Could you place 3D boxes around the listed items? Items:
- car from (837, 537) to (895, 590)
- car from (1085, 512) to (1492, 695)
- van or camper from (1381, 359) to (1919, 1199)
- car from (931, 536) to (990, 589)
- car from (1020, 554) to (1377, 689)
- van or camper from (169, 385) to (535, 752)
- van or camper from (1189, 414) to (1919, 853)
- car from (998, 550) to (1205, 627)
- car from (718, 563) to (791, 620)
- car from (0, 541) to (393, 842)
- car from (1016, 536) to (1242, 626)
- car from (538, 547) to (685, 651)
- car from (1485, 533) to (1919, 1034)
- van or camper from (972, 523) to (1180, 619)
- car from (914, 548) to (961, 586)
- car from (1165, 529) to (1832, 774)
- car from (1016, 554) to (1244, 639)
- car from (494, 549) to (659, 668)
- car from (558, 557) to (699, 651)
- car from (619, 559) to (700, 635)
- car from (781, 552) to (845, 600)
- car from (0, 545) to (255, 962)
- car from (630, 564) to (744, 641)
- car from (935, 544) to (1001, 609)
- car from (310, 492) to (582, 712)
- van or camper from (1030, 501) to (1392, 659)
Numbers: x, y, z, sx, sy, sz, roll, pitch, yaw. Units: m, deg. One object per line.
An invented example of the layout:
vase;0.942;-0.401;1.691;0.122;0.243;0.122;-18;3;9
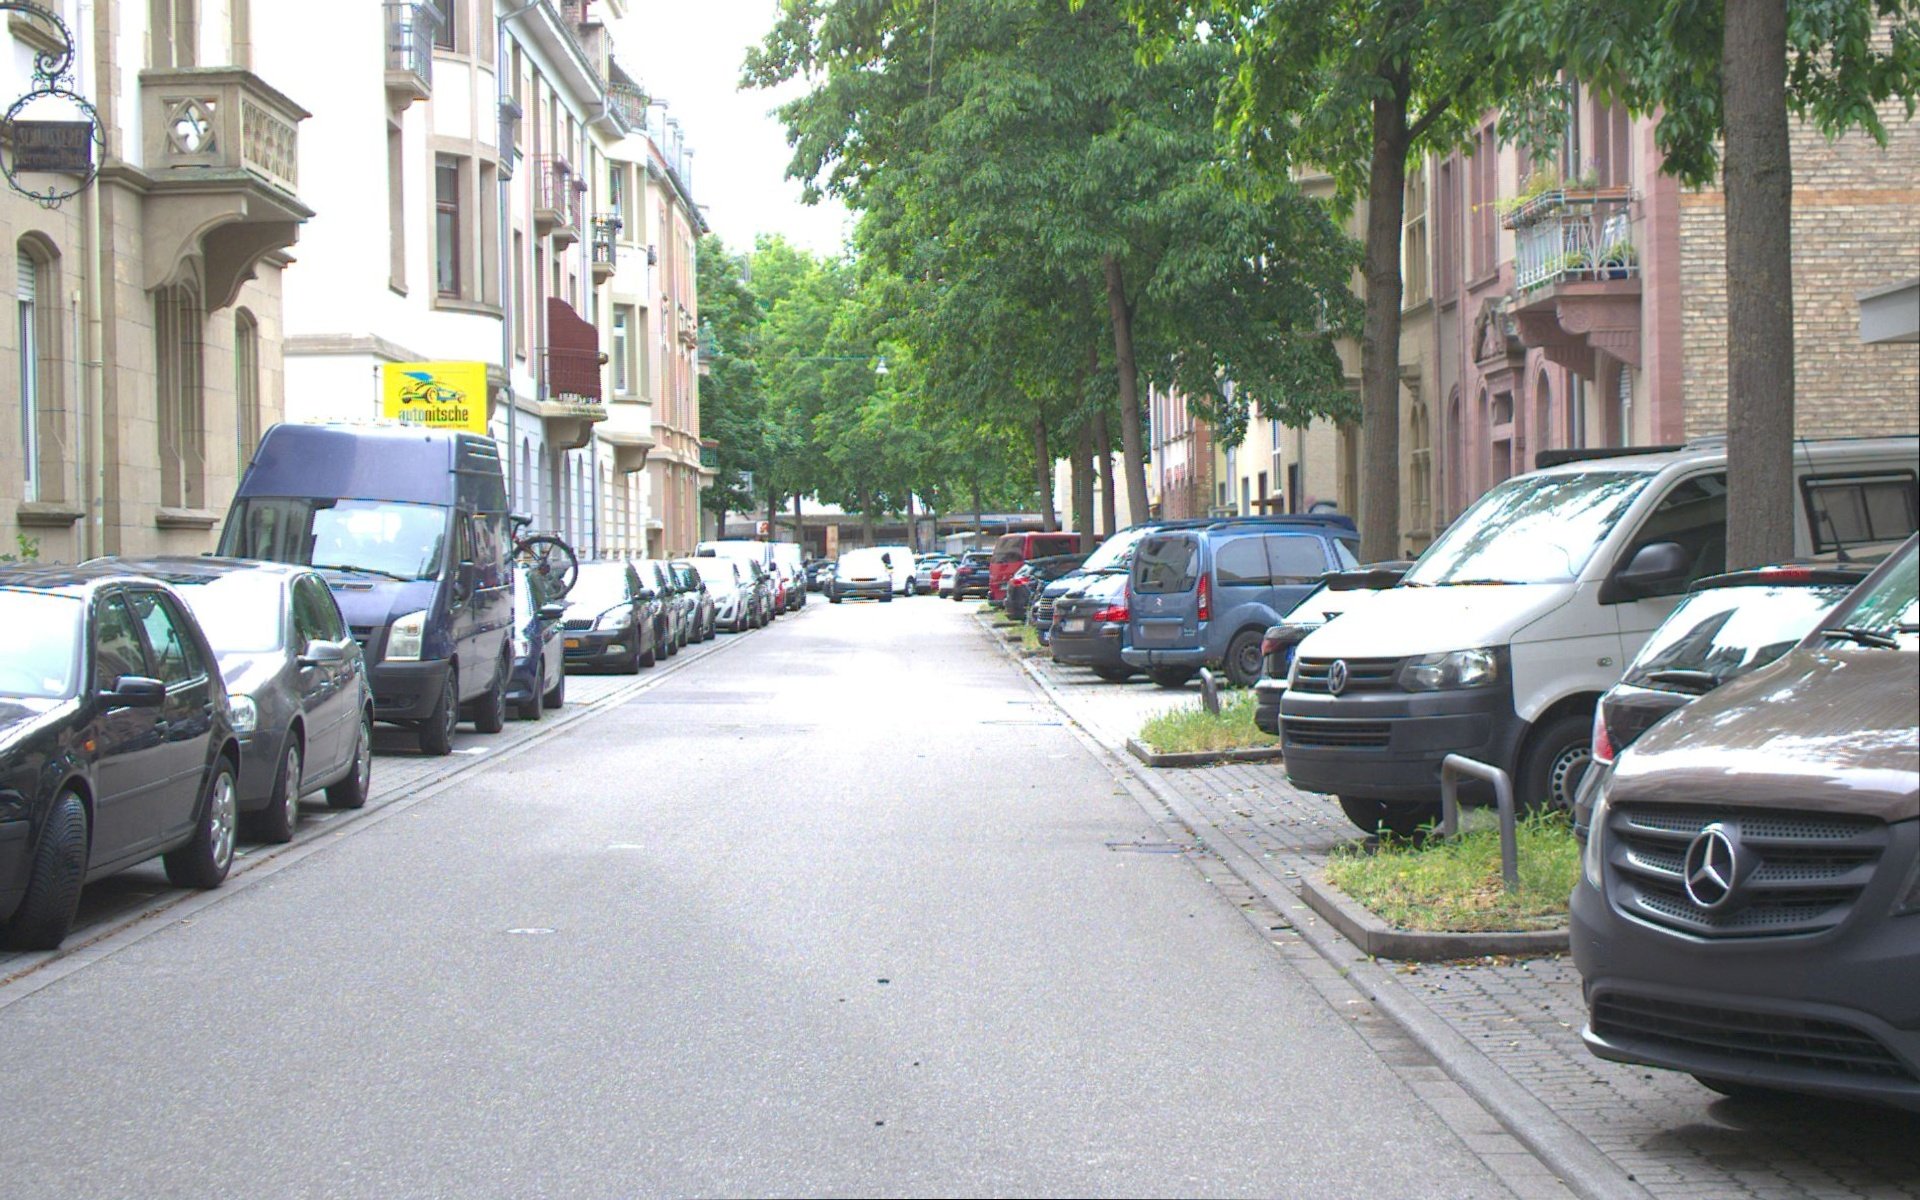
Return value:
car;-3.066;-1.170;112.260;1.821;1.639;3.754;1;0;-1
car;3.775;0.028;39.364;4.172;1.863;2.000;-3;0;-30
van or camper;3.843;0.327;9.228;5.005;1.863;2.127;-3;1;-28
car;0.007;-1.320;121.911;1.993;1.788;4.000;1;0;-1
car;2.943;0.234;42.191;4.010;1.554;1.884;-1;1;-31
van or camper;-4.819;-0.272;28.048;2.008;2.642;5.316;2;1;-1
van or camper;3.793;0.123;17.841;4.729;1.987;2.000;-2;-1;-26
car;2.689;-0.232;65.982;3.760;1.460;1.729;0;1;-6
car;-5.791;-0.261;97.302;1.786;1.450;3.888;-4;1;-1
car;-4.283;0.462;18.979;1.667;1.468;4.000;1;0;-1
car;2.993;-0.347;61.309;3.760;1.460;1.729;-2;1;-6
car;-5.144;-0.040;51.128;1.829;1.422;3.801;2;1;-1
car;3.994;0.467;11.954;3.995;1.439;1.841;-3;1;-32
van or camper;2.563;-0.649;75.753;4.146;2.078;1.953;0;1;-28
car;-0.938;-1.335;140.034;1.870;1.525;4.000;0;1;-1
car;3.762;0.314;23.821;4.301;1.388;1.923;-3;1;-32
car;2.900;-0.069;59.025;3.709;1.403;1.576;-1;1;-6
car;-4.983;0.085;45.110;1.789;1.475;4.023;0;1;-1
car;-5.370;0.040;56.162;1.947;1.398;4.000;2;1;-1
car;-5.289;-0.068;60.710;1.209;1.305;3.261;0;1;-1
car;-4.345;-0.728;102.305;1.786;1.369;3.888;0;1;-1
car;-4.124;0.509;14.173;1.634;1.468;4.000;1;1;-1
car;-5.409;0.022;68.603;1.993;1.470;4.000;0;1;-1
car;0.247;-0.776;112.631;1.993;2.007;4.000;2;1;-1
car;-4.946;-0.017;33.735;1.993;2.007;4.891;0;1;-1
van or camper;3.551;-0.294;48.349;4.775;2.130;2.055;0;1;-31
